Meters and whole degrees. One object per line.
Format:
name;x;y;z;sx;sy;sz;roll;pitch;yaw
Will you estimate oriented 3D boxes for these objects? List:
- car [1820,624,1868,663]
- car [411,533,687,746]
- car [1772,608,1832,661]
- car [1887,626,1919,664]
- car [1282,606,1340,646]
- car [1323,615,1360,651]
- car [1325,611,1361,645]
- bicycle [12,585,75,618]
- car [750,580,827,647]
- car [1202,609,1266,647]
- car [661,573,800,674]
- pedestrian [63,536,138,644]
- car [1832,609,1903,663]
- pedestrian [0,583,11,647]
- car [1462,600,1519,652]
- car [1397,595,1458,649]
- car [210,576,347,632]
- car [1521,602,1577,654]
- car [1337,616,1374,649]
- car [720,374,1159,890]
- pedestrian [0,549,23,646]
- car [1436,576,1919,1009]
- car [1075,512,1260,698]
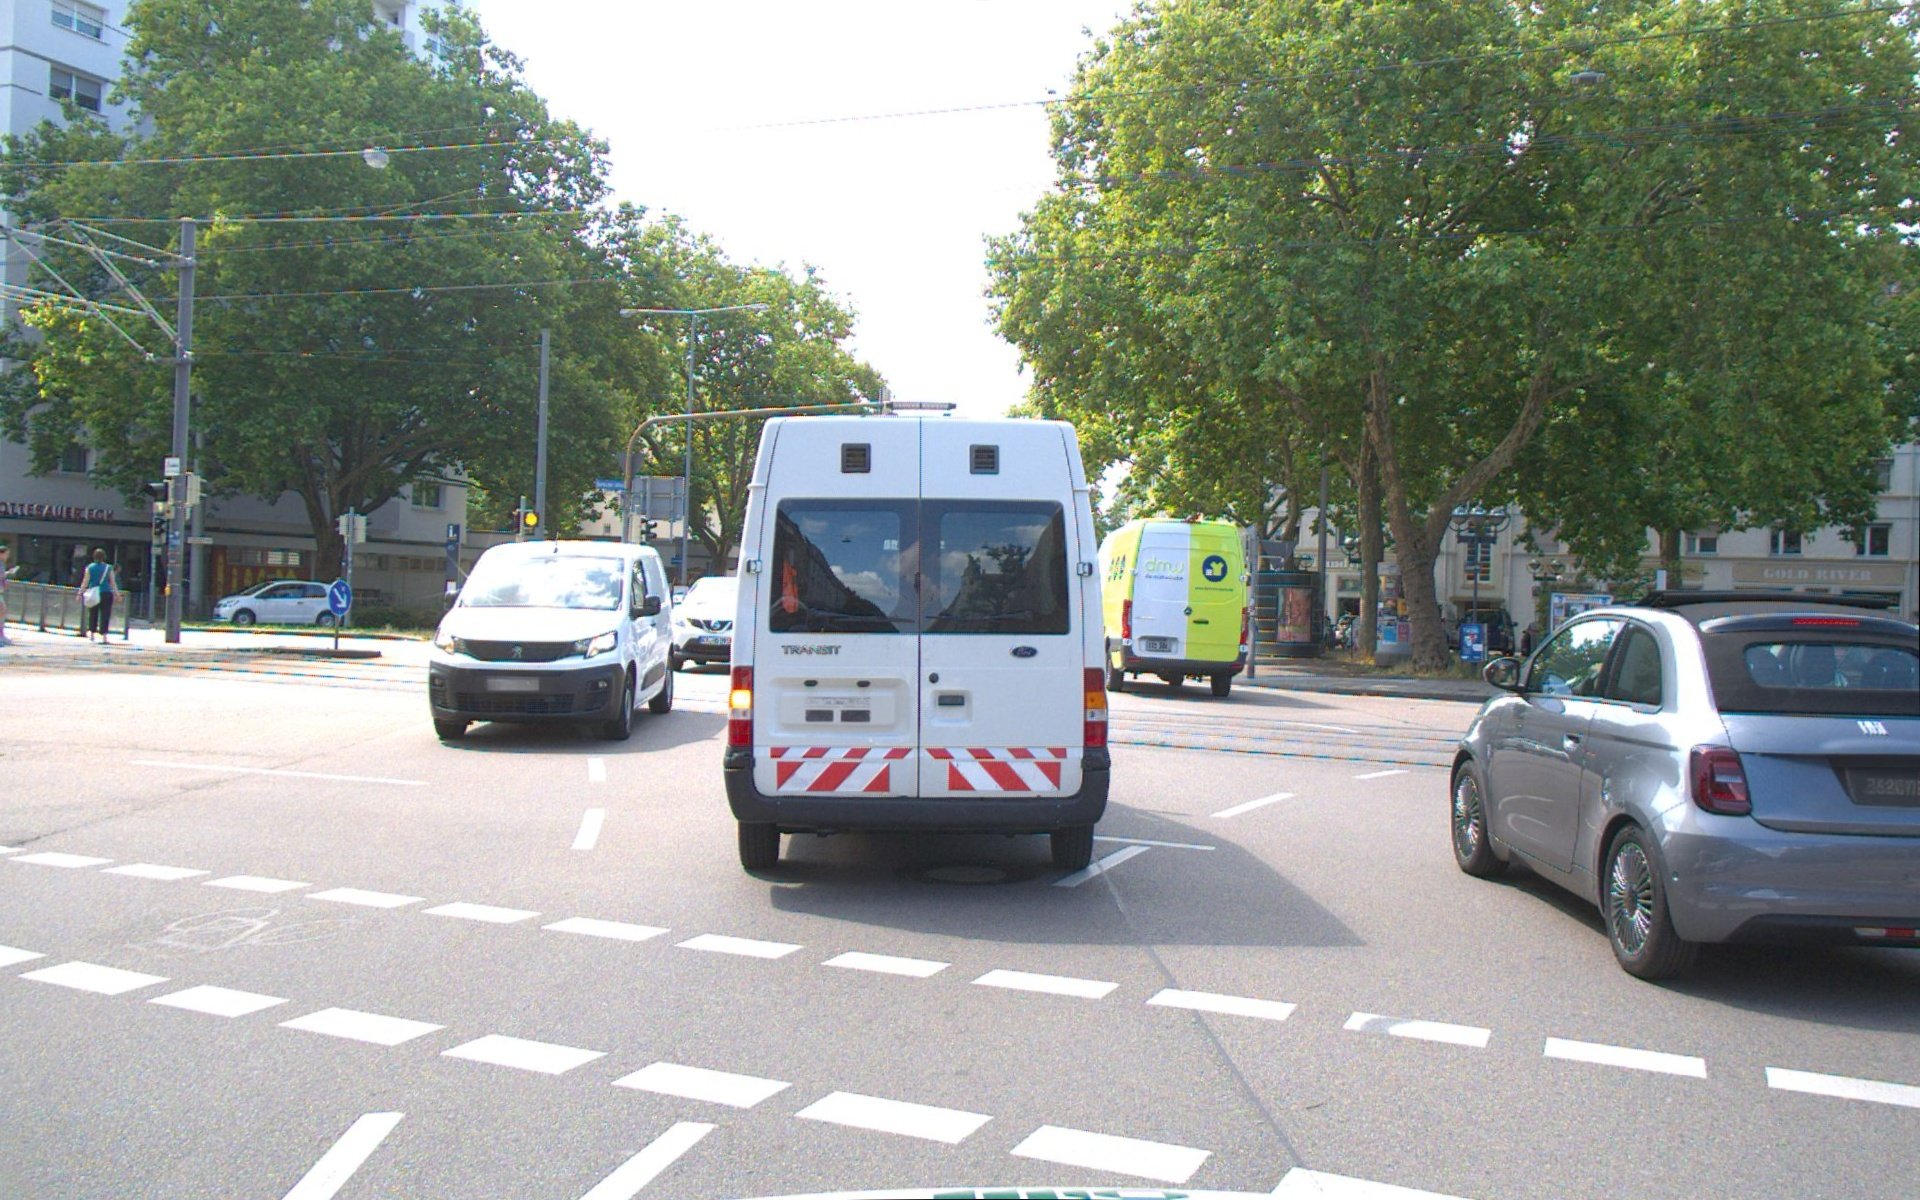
car;40.592;1.975;76.002;1.704;1.666;3.997;1;-1;25
car;-3.891;0.299;16.387;1.775;1.806;4.282;1;1;-2
car;34.418;1.415;67.696;1.954;2.049;3.997;1;-1;24
car;43.121;2.038;74.813;1.704;1.666;3.997;1;-1;25
car;16.053;1.206;75.468;1.866;1.719;4.538;1;0;21
car;16.193;1.387;70.175;1.434;1.413;3.069;2;0;14
car;19.770;1.448;85.336;1.435;1.695;3.068;2;0;19
bicycle;-29.628;0.059;53.483;1.712;1.027;0.526;2;0;-41
car;-4.212;0.303;41.157;1.712;1.567;3.929;-1;0;-3
car;12.676;1.275;76.266;1.986;1.628;4.538;1;0;21
car;-3.889;0.343;28.611;1.734;1.610;4.021;1;1;1
pedestrian;-15.793;-0.180;30.407;0.826;1.932;0.829;1;-1;23
car;36.459;1.439;66.513;1.953;2.049;4.000;1;-1;21
pedestrian;-16.668;0.254;28.530;0.417;1.082;0.430;2;-1;-43
car;23.075;1.139;71.850;1.953;2.112;3.998;2;0;23
car;20.485;0.966;72.351;1.953;2.221;4.255;2;0;23
car;-20.585;0.125;49.995;3.541;1.571;1.536;2;-1;-39
car;25.158;1.188;70.554;1.953;2.112;3.998;2;0;23
car;17.686;1.448;73.957;1.434;1.413;3.238;2;0;16
car;-0.202;0.132;10.122;2.006;2.373;4.712;2;1;-3
pedestrian;-16.950;-0.046;29.115;0.621;1.695;0.665;1;0;-45
car;3.555;0.702;7.806;1.657;1.564;3.469;2;1;1
car;3.294;0.062;27.642;2.077;2.687;6.326;2;0;-2
